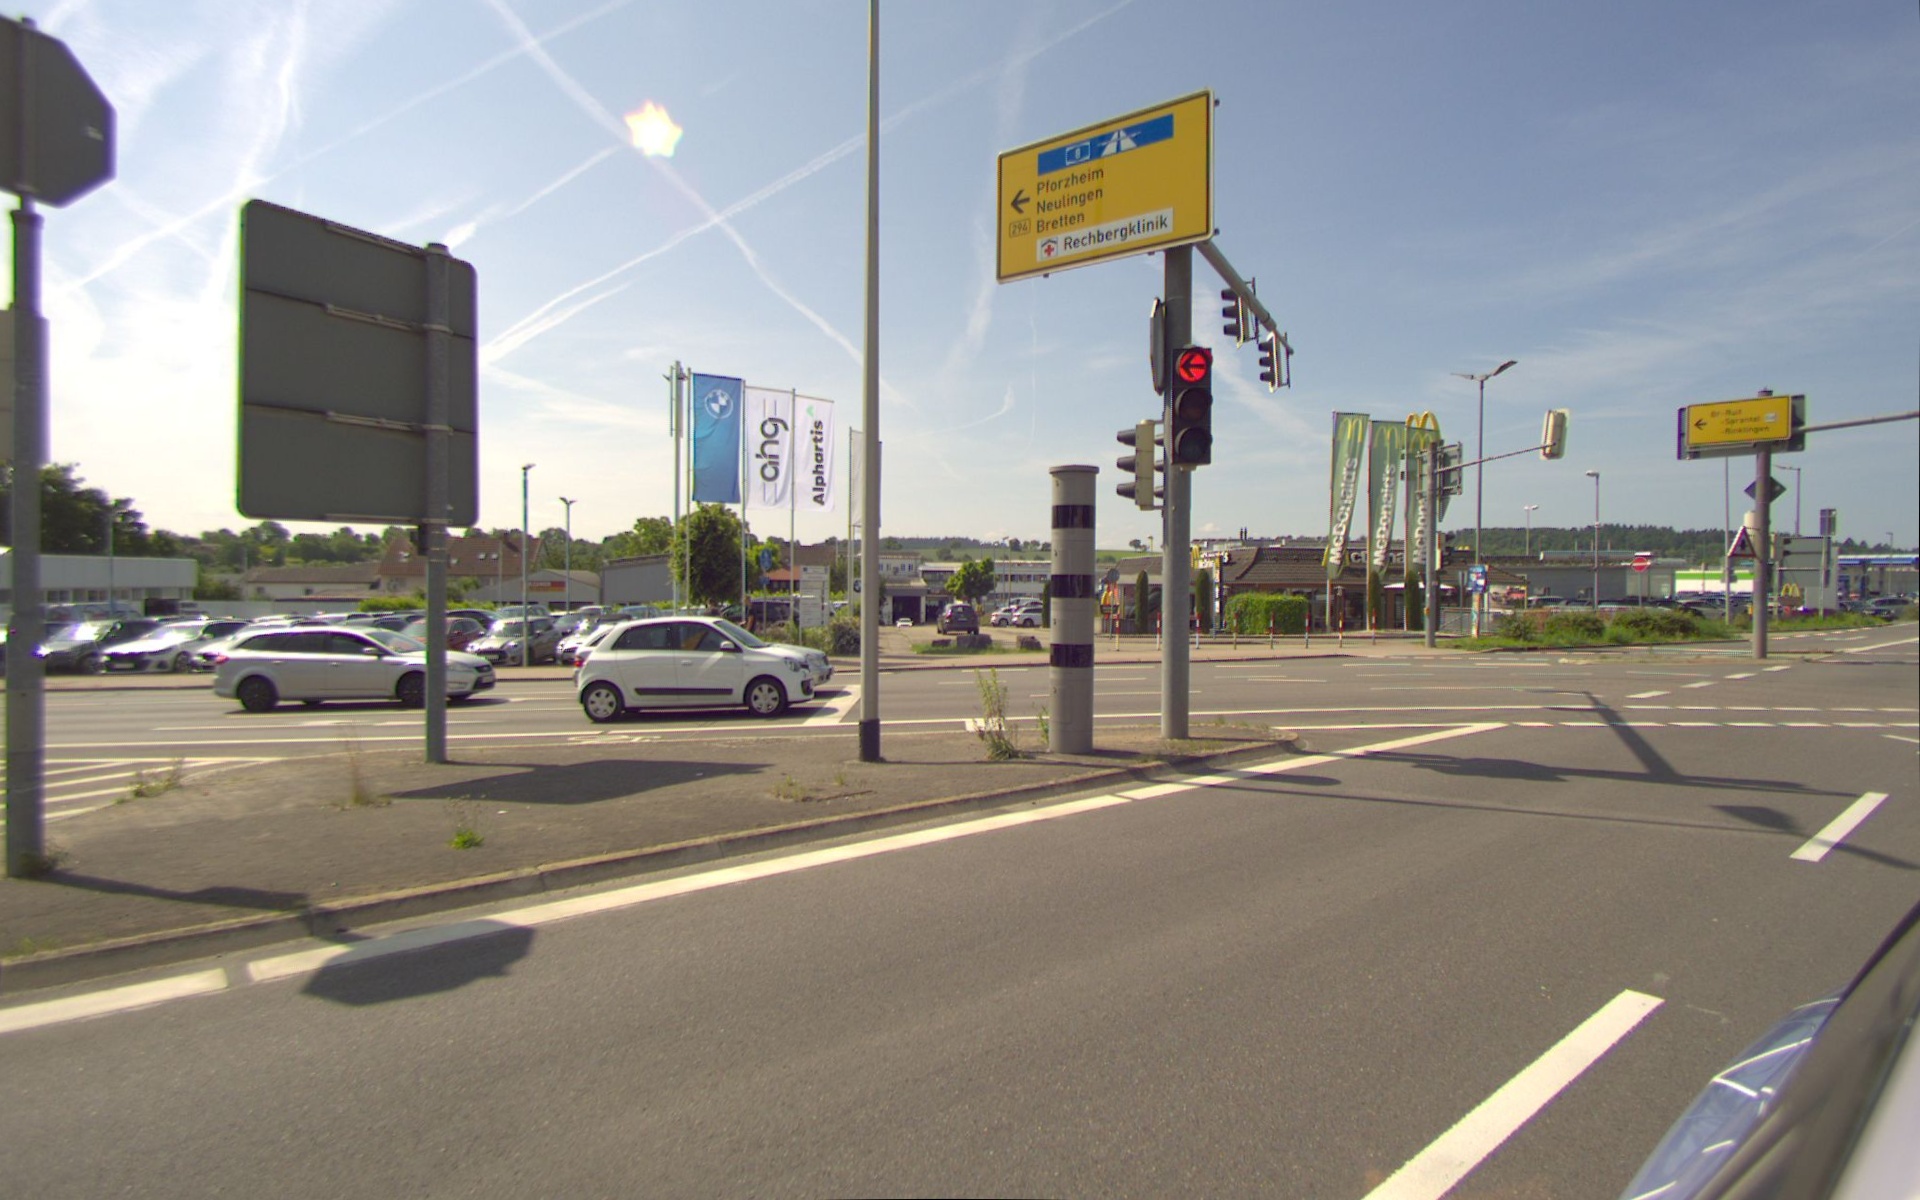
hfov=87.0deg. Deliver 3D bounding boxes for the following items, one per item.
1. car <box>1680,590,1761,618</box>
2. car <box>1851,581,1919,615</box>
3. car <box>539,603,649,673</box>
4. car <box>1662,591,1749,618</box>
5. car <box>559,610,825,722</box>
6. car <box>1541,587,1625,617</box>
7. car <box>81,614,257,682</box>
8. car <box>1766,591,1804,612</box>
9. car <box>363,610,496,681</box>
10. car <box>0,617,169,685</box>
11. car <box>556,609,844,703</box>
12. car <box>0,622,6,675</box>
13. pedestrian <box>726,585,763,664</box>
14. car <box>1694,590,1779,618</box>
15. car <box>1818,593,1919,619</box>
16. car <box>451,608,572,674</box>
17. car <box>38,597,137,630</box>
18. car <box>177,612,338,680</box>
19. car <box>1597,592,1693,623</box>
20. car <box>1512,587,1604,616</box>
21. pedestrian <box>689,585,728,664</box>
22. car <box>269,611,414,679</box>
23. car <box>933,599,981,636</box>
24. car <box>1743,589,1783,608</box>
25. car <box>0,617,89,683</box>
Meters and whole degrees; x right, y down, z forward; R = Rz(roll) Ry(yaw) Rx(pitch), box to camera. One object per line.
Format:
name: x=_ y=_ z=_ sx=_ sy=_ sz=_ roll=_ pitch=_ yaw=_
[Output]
car: x=51.744 y=0.259 z=68.935 sx=3.941 sy=1.691 sz=1.913 roll=2 pitch=2 yaw=14
car: x=65.576 y=-0.125 z=70.925 sx=4.297 sy=2.240 sz=1.751 roll=2 pitch=2 yaw=22
car: x=-10.720 y=1.051 z=29.956 sx=1.961 sy=1.745 sz=4.004 roll=1 pitch=2 yaw=-3
car: x=46.548 y=0.270 z=63.221 sx=4.180 sy=1.510 sz=1.751 roll=1 pitch=2 yaw=-3
car: x=-4.080 y=0.990 z=15.832 sx=3.684 sy=1.523 sz=1.711 roll=-2 pitch=0 yaw=-1
car: x=38.192 y=0.131 z=62.102 sx=4.088 sy=1.691 sz=1.778 roll=1 pitch=2 yaw=-3
car: x=-23.064 y=1.341 z=29.766 sx=2.049 sy=1.638 sz=4.482 roll=1 pitch=2 yaw=-7
car: x=71.450 y=0.088 z=87.600 sx=4.631 sy=1.675 sz=1.905 roll=0 pitch=2 yaw=-43
car: x=-15.490 y=1.281 z=29.793 sx=1.961 sy=1.749 sz=4.004 roll=1 pitch=2 yaw=-3
car: x=-25.483 y=1.421 z=29.500 sx=2.049 sy=1.638 sz=4.041 roll=1 pitch=2 yaw=-7
car: x=-4.763 y=1.019 z=19.099 sx=4.905 sy=1.524 sz=2.000 roll=-2 pitch=0 yaw=0
car: x=-30.373 y=1.548 z=29.300 sx=2.049 sy=1.638 sz=4.006 roll=1 pitch=2 yaw=-7
pedestrian: x=-5.639 y=0.637 z=26.532 sx=0.861 sy=2.039 sz=0.665 roll=0 pitch=0 yaw=-3
car: x=50.970 y=0.242 z=66.501 sx=3.976 sy=1.691 sz=1.764 roll=2 pitch=2 yaw=21
car: x=53.693 y=0.398 z=59.879 sx=1.932 sy=1.350 sz=4.808 roll=-3 pitch=-2 yaw=5
car: x=-13.098 y=1.146 z=29.855 sx=1.961 sy=1.593 sz=4.004 roll=1 pitch=2 yaw=-3
car: x=-48.428 y=0.716 z=56.277 sx=1.970 sy=1.638 sz=4.192 roll=1 pitch=2 yaw=-1
car: x=-20.609 y=1.295 z=29.944 sx=1.960 sy=1.638 sz=4.485 roll=1 pitch=2 yaw=-5
car: x=38.798 y=0.419 z=57.354 sx=4.150 sy=1.595 sz=1.863 roll=1 pitch=2 yaw=-3
car: x=37.999 y=0.055 z=64.339 sx=4.723 sy=1.691 sz=1.914 roll=1 pitch=2 yaw=-3
pedestrian: x=-6.575 y=0.619 z=26.489 sx=0.861 sy=2.039 sz=0.665 roll=0 pitch=0 yaw=-3
car: x=-17.992 y=1.264 z=29.668 sx=1.961 sy=1.638 sz=4.004 roll=1 pitch=2 yaw=-3
car: x=-0.194 y=0.812 z=48.793 sx=1.960 sy=1.538 sz=4.454 roll=1 pitch=2 yaw=-4
car: x=74.195 y=-0.163 z=93.489 sx=4.350 sy=1.675 sz=1.776 roll=0 pitch=2 yaw=-36
car: x=-27.886 y=1.438 z=29.407 sx=2.049 sy=1.638 sz=3.933 roll=1 pitch=2 yaw=-7
